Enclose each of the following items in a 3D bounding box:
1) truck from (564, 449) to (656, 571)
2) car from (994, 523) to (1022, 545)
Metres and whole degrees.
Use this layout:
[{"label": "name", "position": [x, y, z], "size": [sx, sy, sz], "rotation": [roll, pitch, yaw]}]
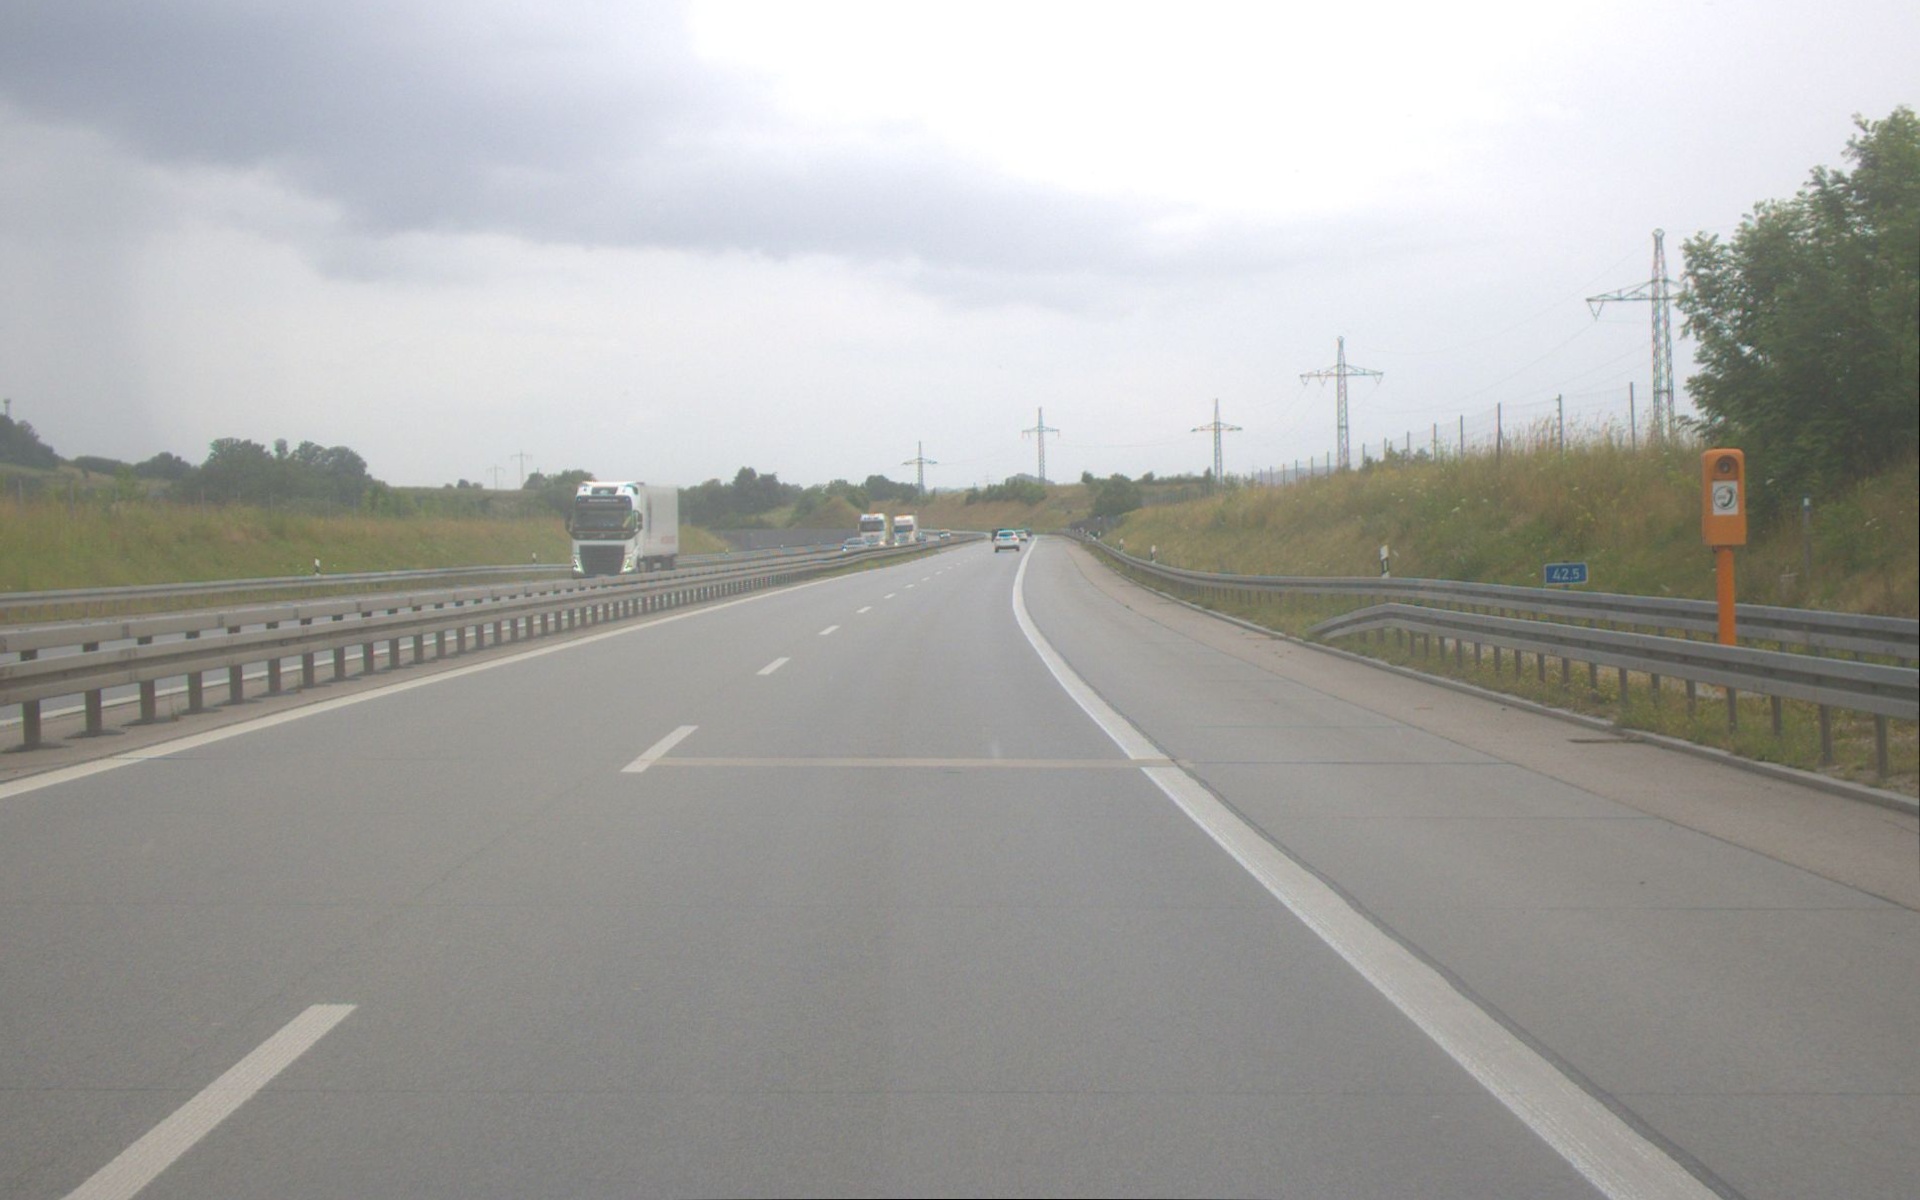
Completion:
[{"label": "truck", "position": [-13.659, -3.496, 134.773], "size": [2.795, 4.631, 6.920], "rotation": [-1, 1, 0]}, {"label": "car", "position": [3.644, -5.008, 261.863], "size": [1.956, 1.645, 4.000], "rotation": [-1, 0, 3]}]
